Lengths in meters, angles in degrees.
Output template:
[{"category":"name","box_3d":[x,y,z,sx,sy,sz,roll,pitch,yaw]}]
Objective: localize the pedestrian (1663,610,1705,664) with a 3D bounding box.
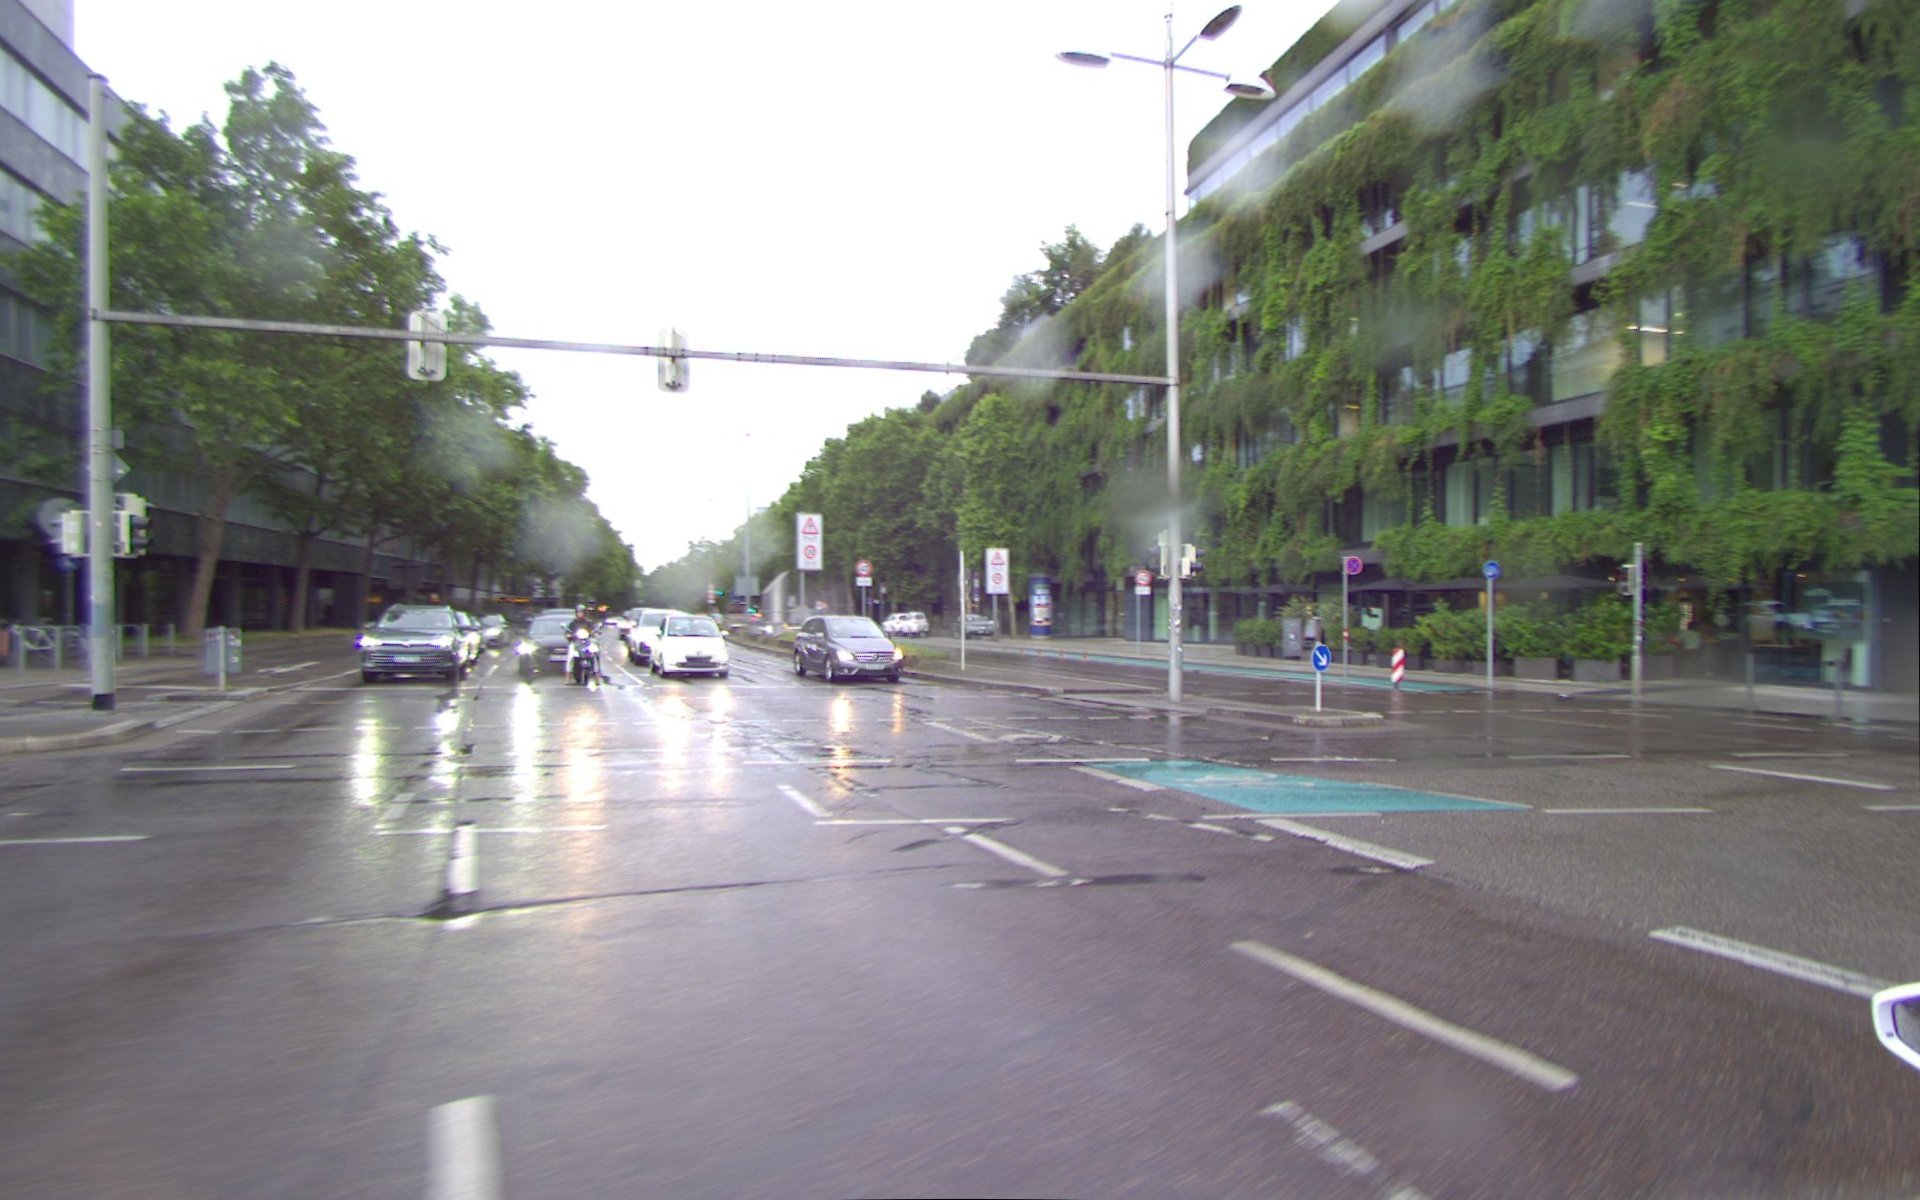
[{"category":"pedestrian","box_3d":[18.253,0.928,25.326,0.589,1.328,0.613,1,0,-17]}]

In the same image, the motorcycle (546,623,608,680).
[{"category":"motorcycle","box_3d":[-8.065,1.049,21.083,0.825,1.068,2.347,1,0,-31]}]

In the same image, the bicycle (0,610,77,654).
[{"category":"bicycle","box_3d":[-23.067,0.785,24.826,1.754,1.066,0.584,1,0,-16]}]

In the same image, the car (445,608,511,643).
[{"category":"car","box_3d":[-20.197,1.032,42.246,1.969,1.389,4.159,1,-1,-19]}]

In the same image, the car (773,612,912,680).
[{"category":"car","box_3d":[-3.063,1.061,25.083,1.909,1.508,4.875,1,-1,-27]}]

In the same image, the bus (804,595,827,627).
[{"category":"bus","box_3d":[-15.801,1.142,109.715,1.772,3.385,5.959,1,0,-15]}]

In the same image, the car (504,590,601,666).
[{"category":"car","box_3d":[-10.265,0.684,25.583,1.968,1.773,3.984,1,-1,-18]}]

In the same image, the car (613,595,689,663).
[{"category":"car","box_3d":[-9.355,0.860,30.724,1.966,1.923,4.165,1,-1,-14]}]

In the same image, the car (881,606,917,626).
[{"category":"car","box_3d":[-4.680,1.187,76.078,1.774,1.442,3.984,1,0,-18]}]

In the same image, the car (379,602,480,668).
[{"category":"car","box_3d":[-15.125,0.958,28.854,1.969,1.773,3.982,1,-1,-19]}]

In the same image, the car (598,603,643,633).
[{"category":"car","box_3d":[-16.678,0.870,49.379,1.969,1.389,4.159,1,-1,-19]}]

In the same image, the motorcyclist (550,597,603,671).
[{"category":"motorcyclist","box_3d":[-8.057,0.692,21.079,0.826,1.492,1.161,1,0,-31]}]

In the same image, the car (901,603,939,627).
[{"category":"car","box_3d":[-2.841,1.008,70.333,1.772,1.588,3.987,1,0,-15]}]

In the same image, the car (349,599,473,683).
[{"category":"car","box_3d":[-12.301,0.867,22.778,1.971,1.709,4.344,1,-1,-22]}]

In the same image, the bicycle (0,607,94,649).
[{"category":"bicycle","box_3d":[-23.463,0.713,25.787,1.754,1.066,0.584,1,0,-16]}]

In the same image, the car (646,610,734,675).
[{"category":"car","box_3d":[-6.900,1.015,25.409,1.968,1.494,3.984,1,-1,-18]}]
